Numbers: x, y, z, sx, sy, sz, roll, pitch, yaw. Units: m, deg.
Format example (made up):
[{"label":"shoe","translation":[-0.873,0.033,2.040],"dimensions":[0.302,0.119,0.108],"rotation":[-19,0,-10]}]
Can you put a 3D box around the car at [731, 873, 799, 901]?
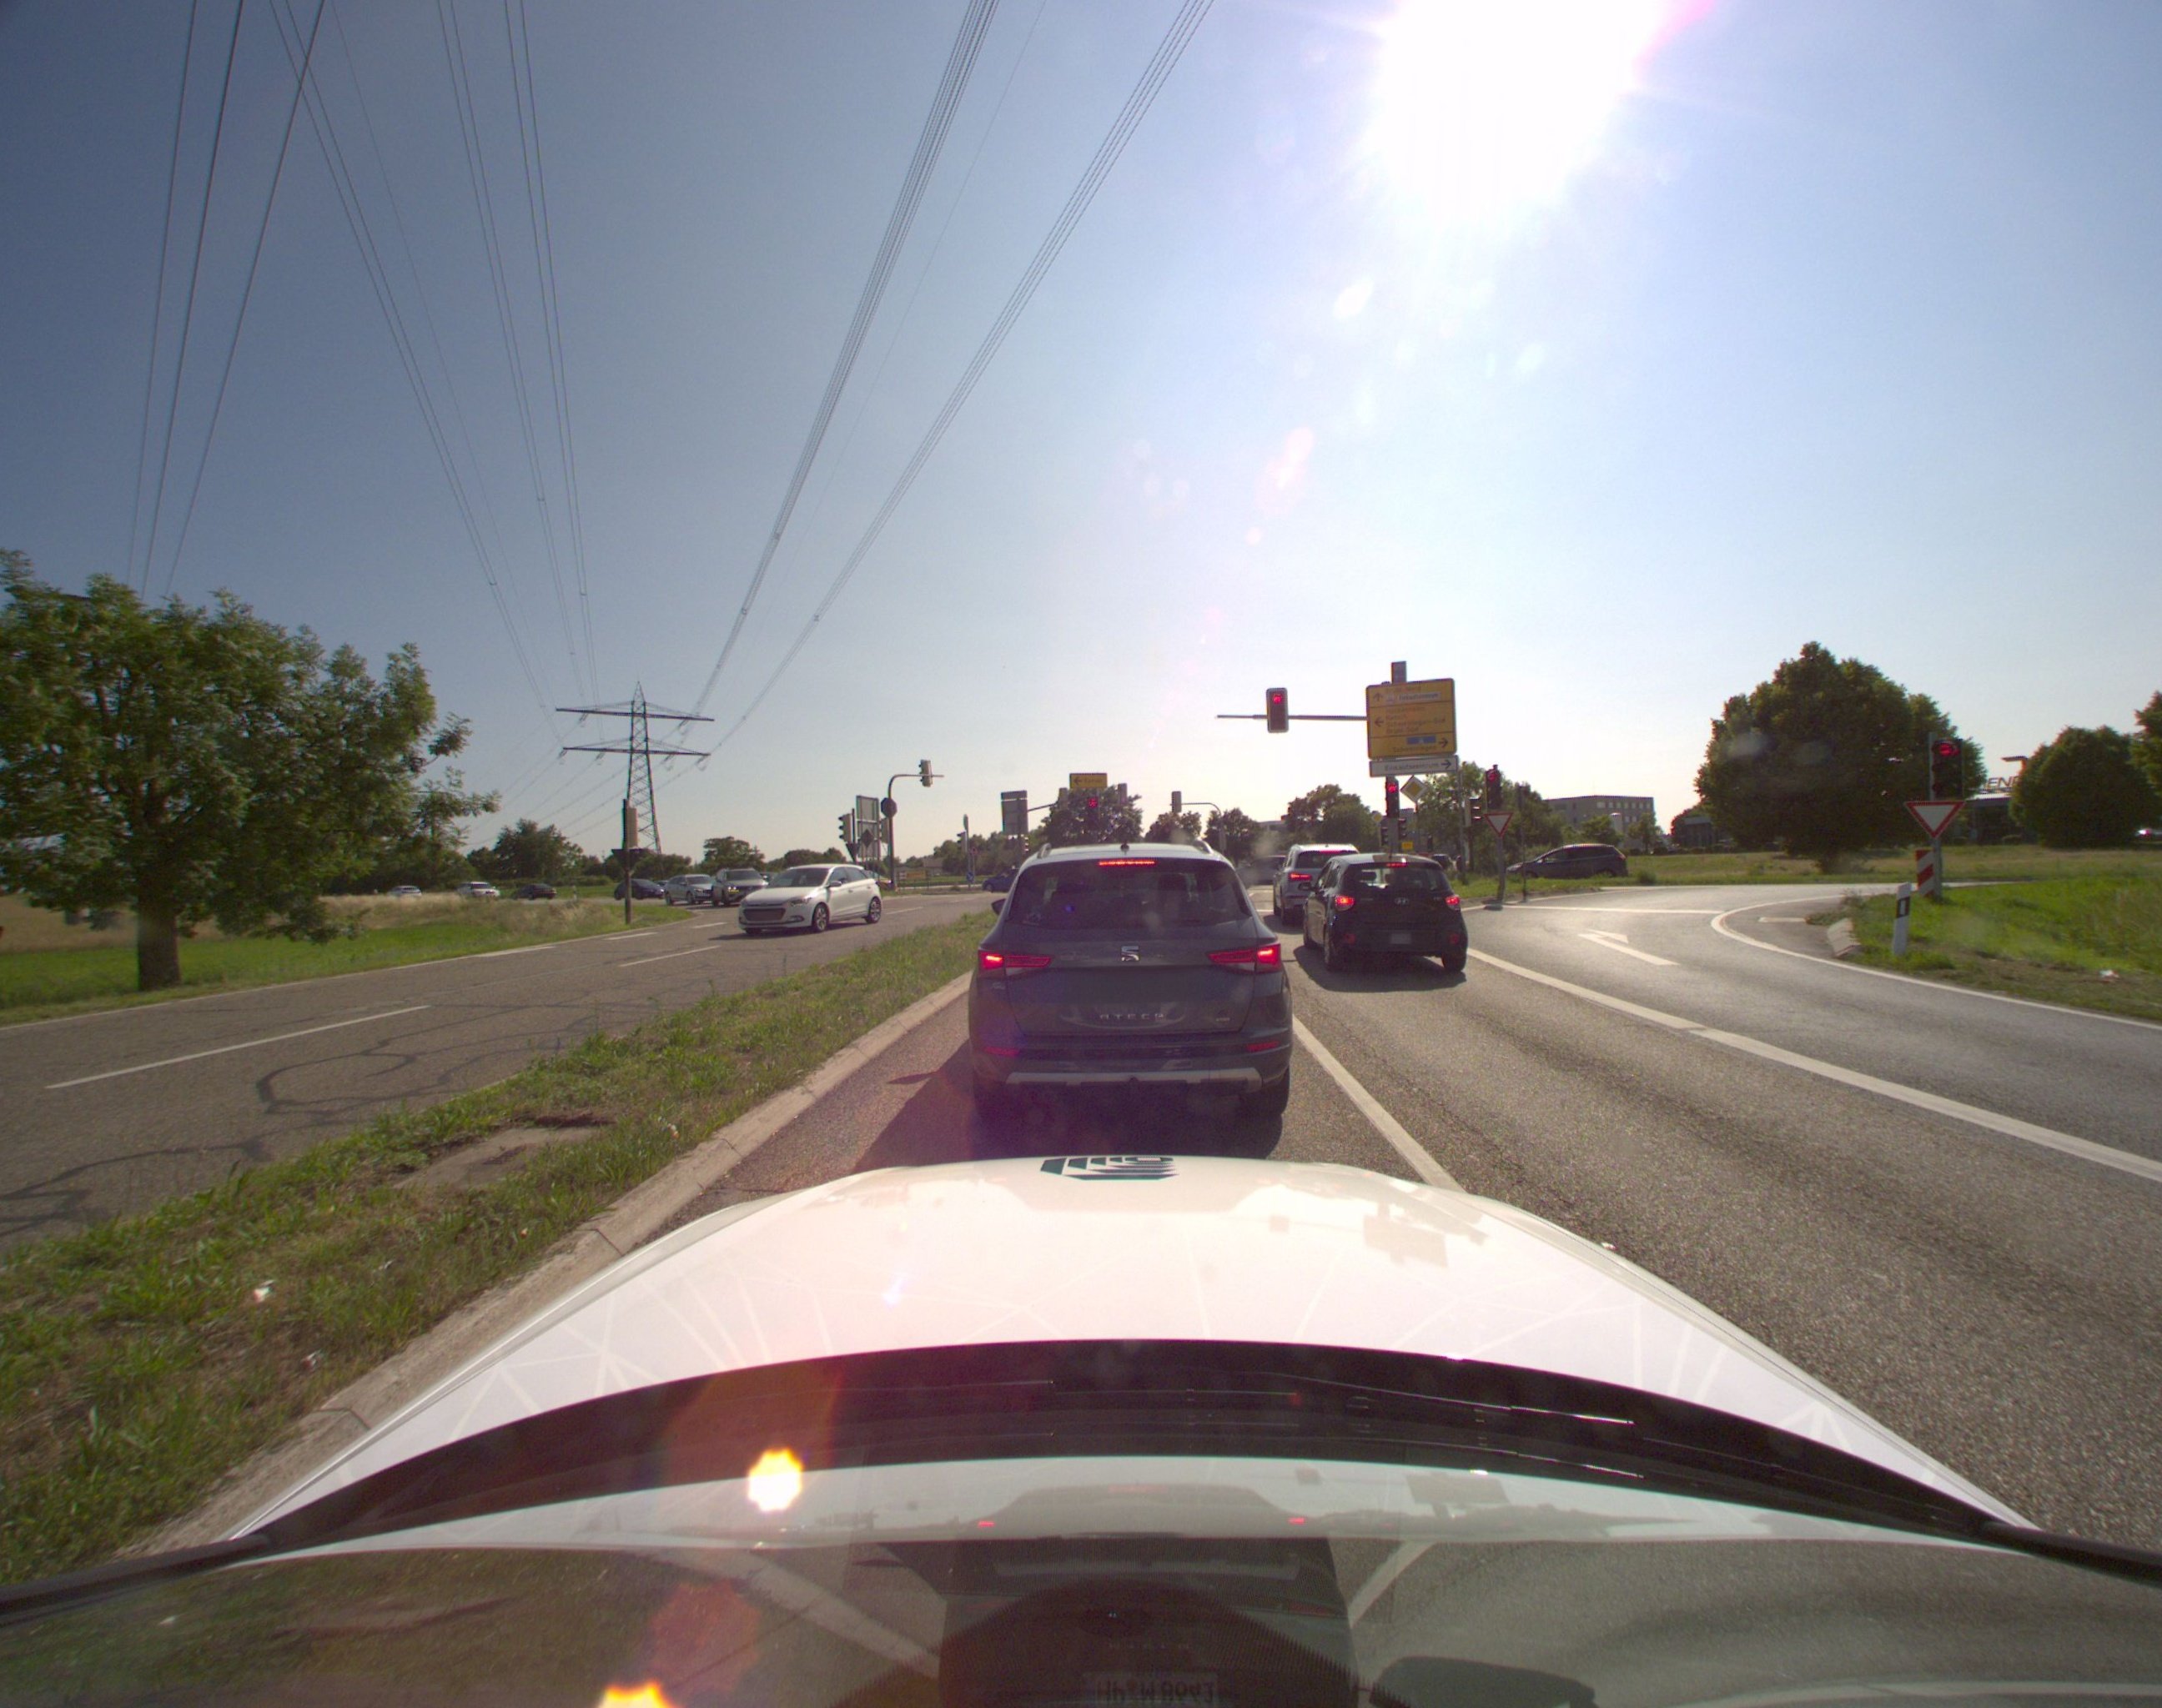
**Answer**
[{"label":"car","translation":[-19.624,2.053,50.524],"dimensions":[3.949,1.651,1.831],"rotation":[-2,-1,29]}]

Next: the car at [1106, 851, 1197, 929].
[{"label":"car","translation":[1.569,0.710,17.355],"dimensions":[1.732,1.484,3.631],"rotation":[0,-1,7]}]

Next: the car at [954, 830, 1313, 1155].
[{"label":"car","translation":[0.309,0.687,5.769],"dimensions":[1.735,1.569,3.625],"rotation":[0,-1,2]}]

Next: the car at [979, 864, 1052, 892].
[{"label":"car","translation":[-3.869,1.440,48.030],"dimensions":[3.832,1.519,1.818],"rotation":[-2,-1,25]}]

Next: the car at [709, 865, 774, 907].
[{"label":"car","translation":[-14.599,1.348,34.909],"dimensions":[1.827,1.651,3.958],"rotation":[-1,-1,-34]}]

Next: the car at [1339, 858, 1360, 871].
[{"label":"car","translation":[35.344,1.312,107.260],"dimensions":[1.859,1.673,3.793],"rotation":[0,-1,31]}]

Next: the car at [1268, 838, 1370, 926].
[{"label":"car","translation":[5.013,0.555,17.570],"dimensions":[1.623,1.677,3.758],"rotation":[-1,0,9]}]

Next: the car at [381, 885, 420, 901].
[{"label":"car","translation":[-71.538,4.111,85.588],"dimensions":[3.831,1.519,1.818],"rotation":[-2,-1,27]}]

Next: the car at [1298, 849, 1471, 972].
[{"label":"car","translation":[4.044,0.678,11.358],"dimensions":[1.623,1.448,3.303],"rotation":[-1,0,9]}]

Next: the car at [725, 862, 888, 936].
[{"label":"car","translation":[-6.063,0.938,18.514],"dimensions":[1.706,1.465,3.925],"rotation":[-1,-1,12]}]

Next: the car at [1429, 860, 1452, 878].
[{"label":"car","translation":[35.835,1.463,81.082],"dimensions":[1.859,1.673,3.792],"rotation":[0,-1,27]}]

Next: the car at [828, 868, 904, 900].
[{"label":"car","translation":[-12.126,1.697,45.981],"dimensions":[3.949,1.651,1.831],"rotation":[-2,-1,29]}]

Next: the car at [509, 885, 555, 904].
[{"label":"car","translation":[-49.330,3.632,73.154],"dimensions":[3.831,1.519,1.818],"rotation":[-2,-1,27]}]

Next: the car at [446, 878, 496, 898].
[{"label":"car","translation":[-50.621,2.792,67.589],"dimensions":[3.949,1.485,1.831],"rotation":[0,0,28]}]

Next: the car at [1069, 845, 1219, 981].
[{"label":"car","translation":[0.819,0.705,11.247],"dimensions":[1.735,1.569,3.626],"rotation":[0,-1,3]}]

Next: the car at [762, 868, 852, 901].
[{"label":"car","translation":[-14.709,1.644,43.638],"dimensions":[4.700,1.651,1.831],"rotation":[-2,-1,29]}]

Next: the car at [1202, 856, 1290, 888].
[{"label":"car","translation":[8.397,0.919,41.374],"dimensions":[3.986,1.519,1.818],"rotation":[-2,-1,27]}]

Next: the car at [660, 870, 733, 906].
[{"label":"car","translation":[-19.031,1.688,40.241],"dimensions":[3.949,1.651,1.831],"rotation":[-2,-1,42]}]

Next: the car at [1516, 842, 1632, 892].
[{"label":"car","translation":[20.473,0.568,33.985],"dimensions":[3.969,1.953,1.706],"rotation":[-2,-1,29]}]

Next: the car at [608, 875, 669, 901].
[{"label":"car","translation":[-30.736,2.351,56.568],"dimensions":[3.949,1.651,1.831],"rotation":[-2,-1,29]}]
